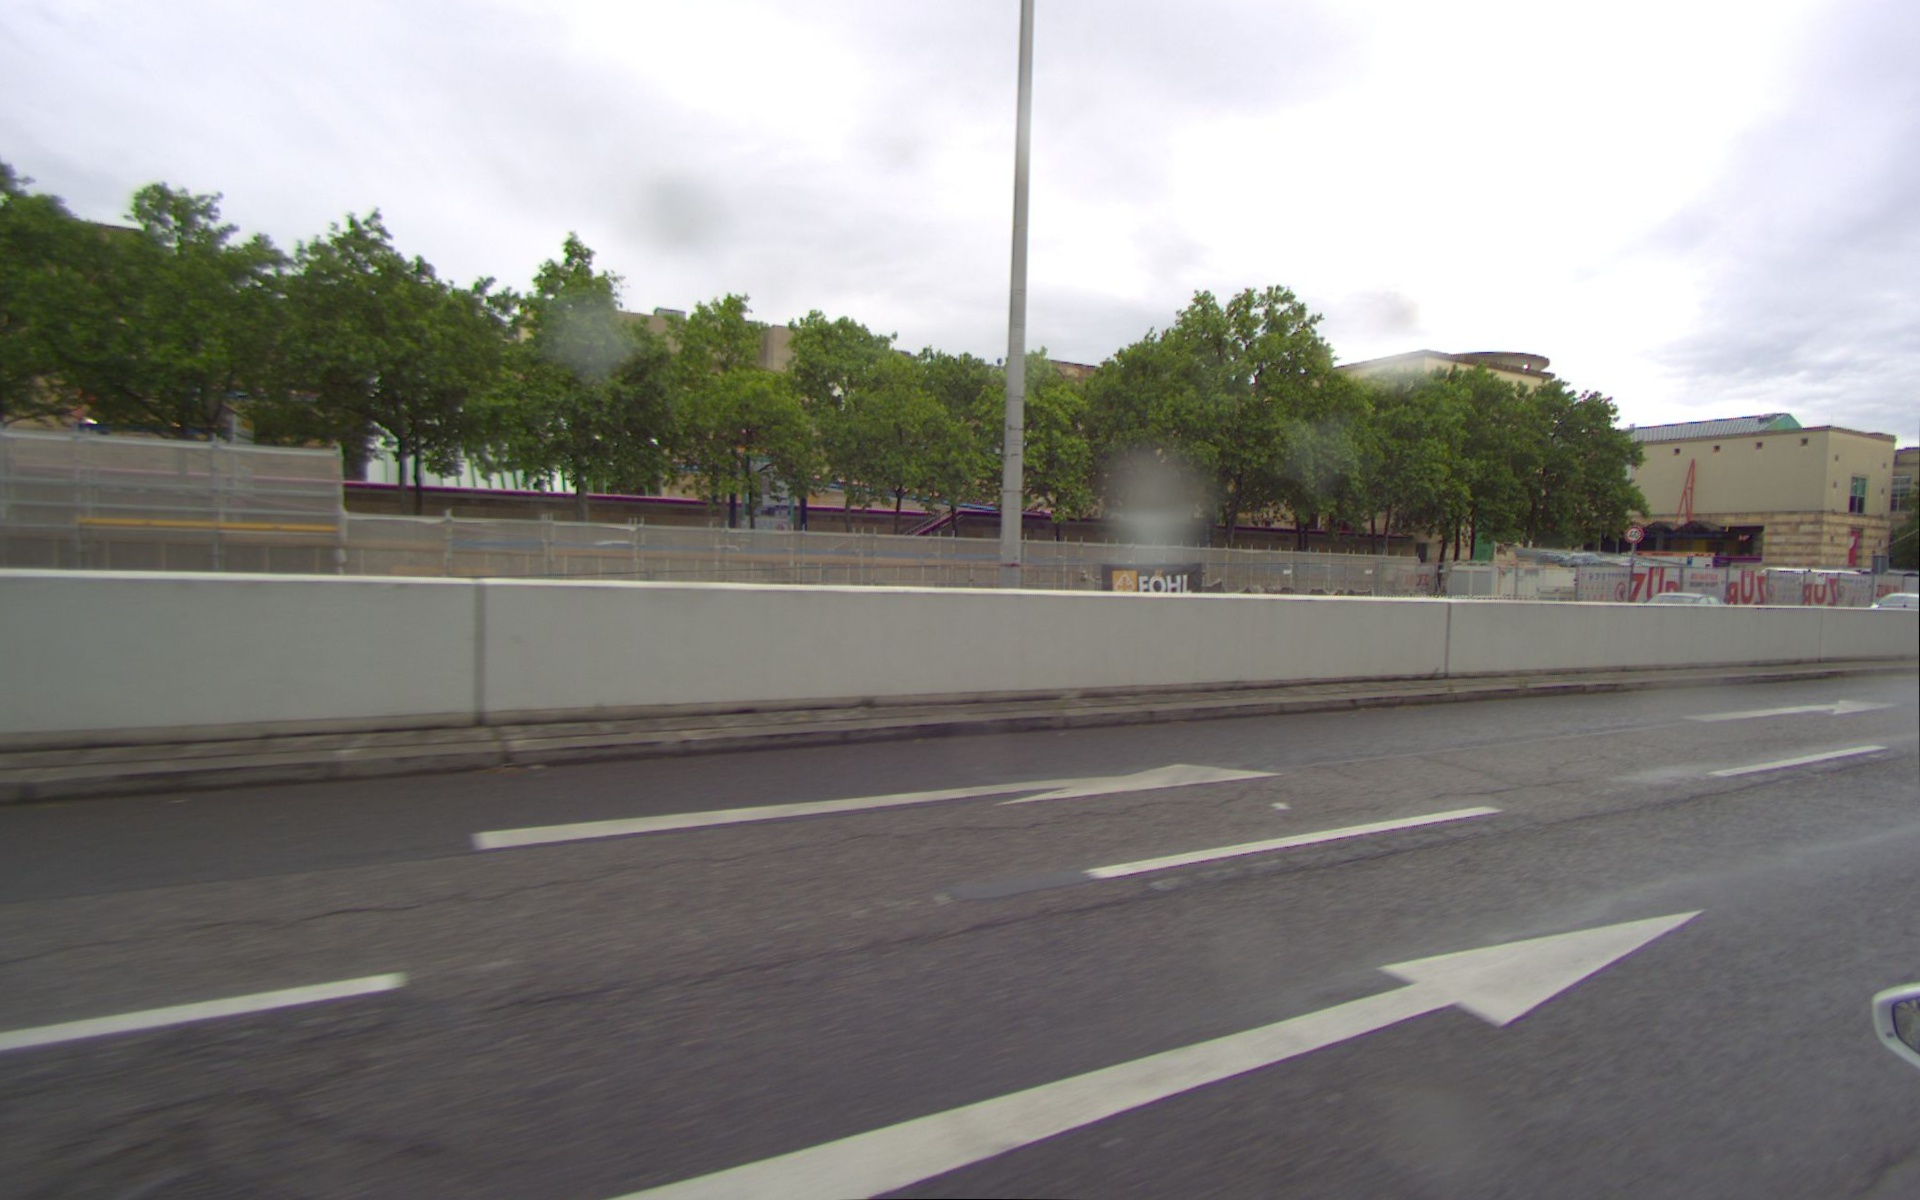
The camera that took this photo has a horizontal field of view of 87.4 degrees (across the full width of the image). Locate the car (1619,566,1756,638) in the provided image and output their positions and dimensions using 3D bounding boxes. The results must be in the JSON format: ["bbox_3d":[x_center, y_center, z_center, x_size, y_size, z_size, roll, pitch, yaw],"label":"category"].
[{"bbox_3d":[22.976,0.061,31.724,3.954,2.041,1.983,1,5,-31],"label":"car"}]

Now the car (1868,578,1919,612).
[{"bbox_3d":[38.475,-0.178,40.624,3.366,1.212,1.618,1,5,-31],"label":"car"}]
